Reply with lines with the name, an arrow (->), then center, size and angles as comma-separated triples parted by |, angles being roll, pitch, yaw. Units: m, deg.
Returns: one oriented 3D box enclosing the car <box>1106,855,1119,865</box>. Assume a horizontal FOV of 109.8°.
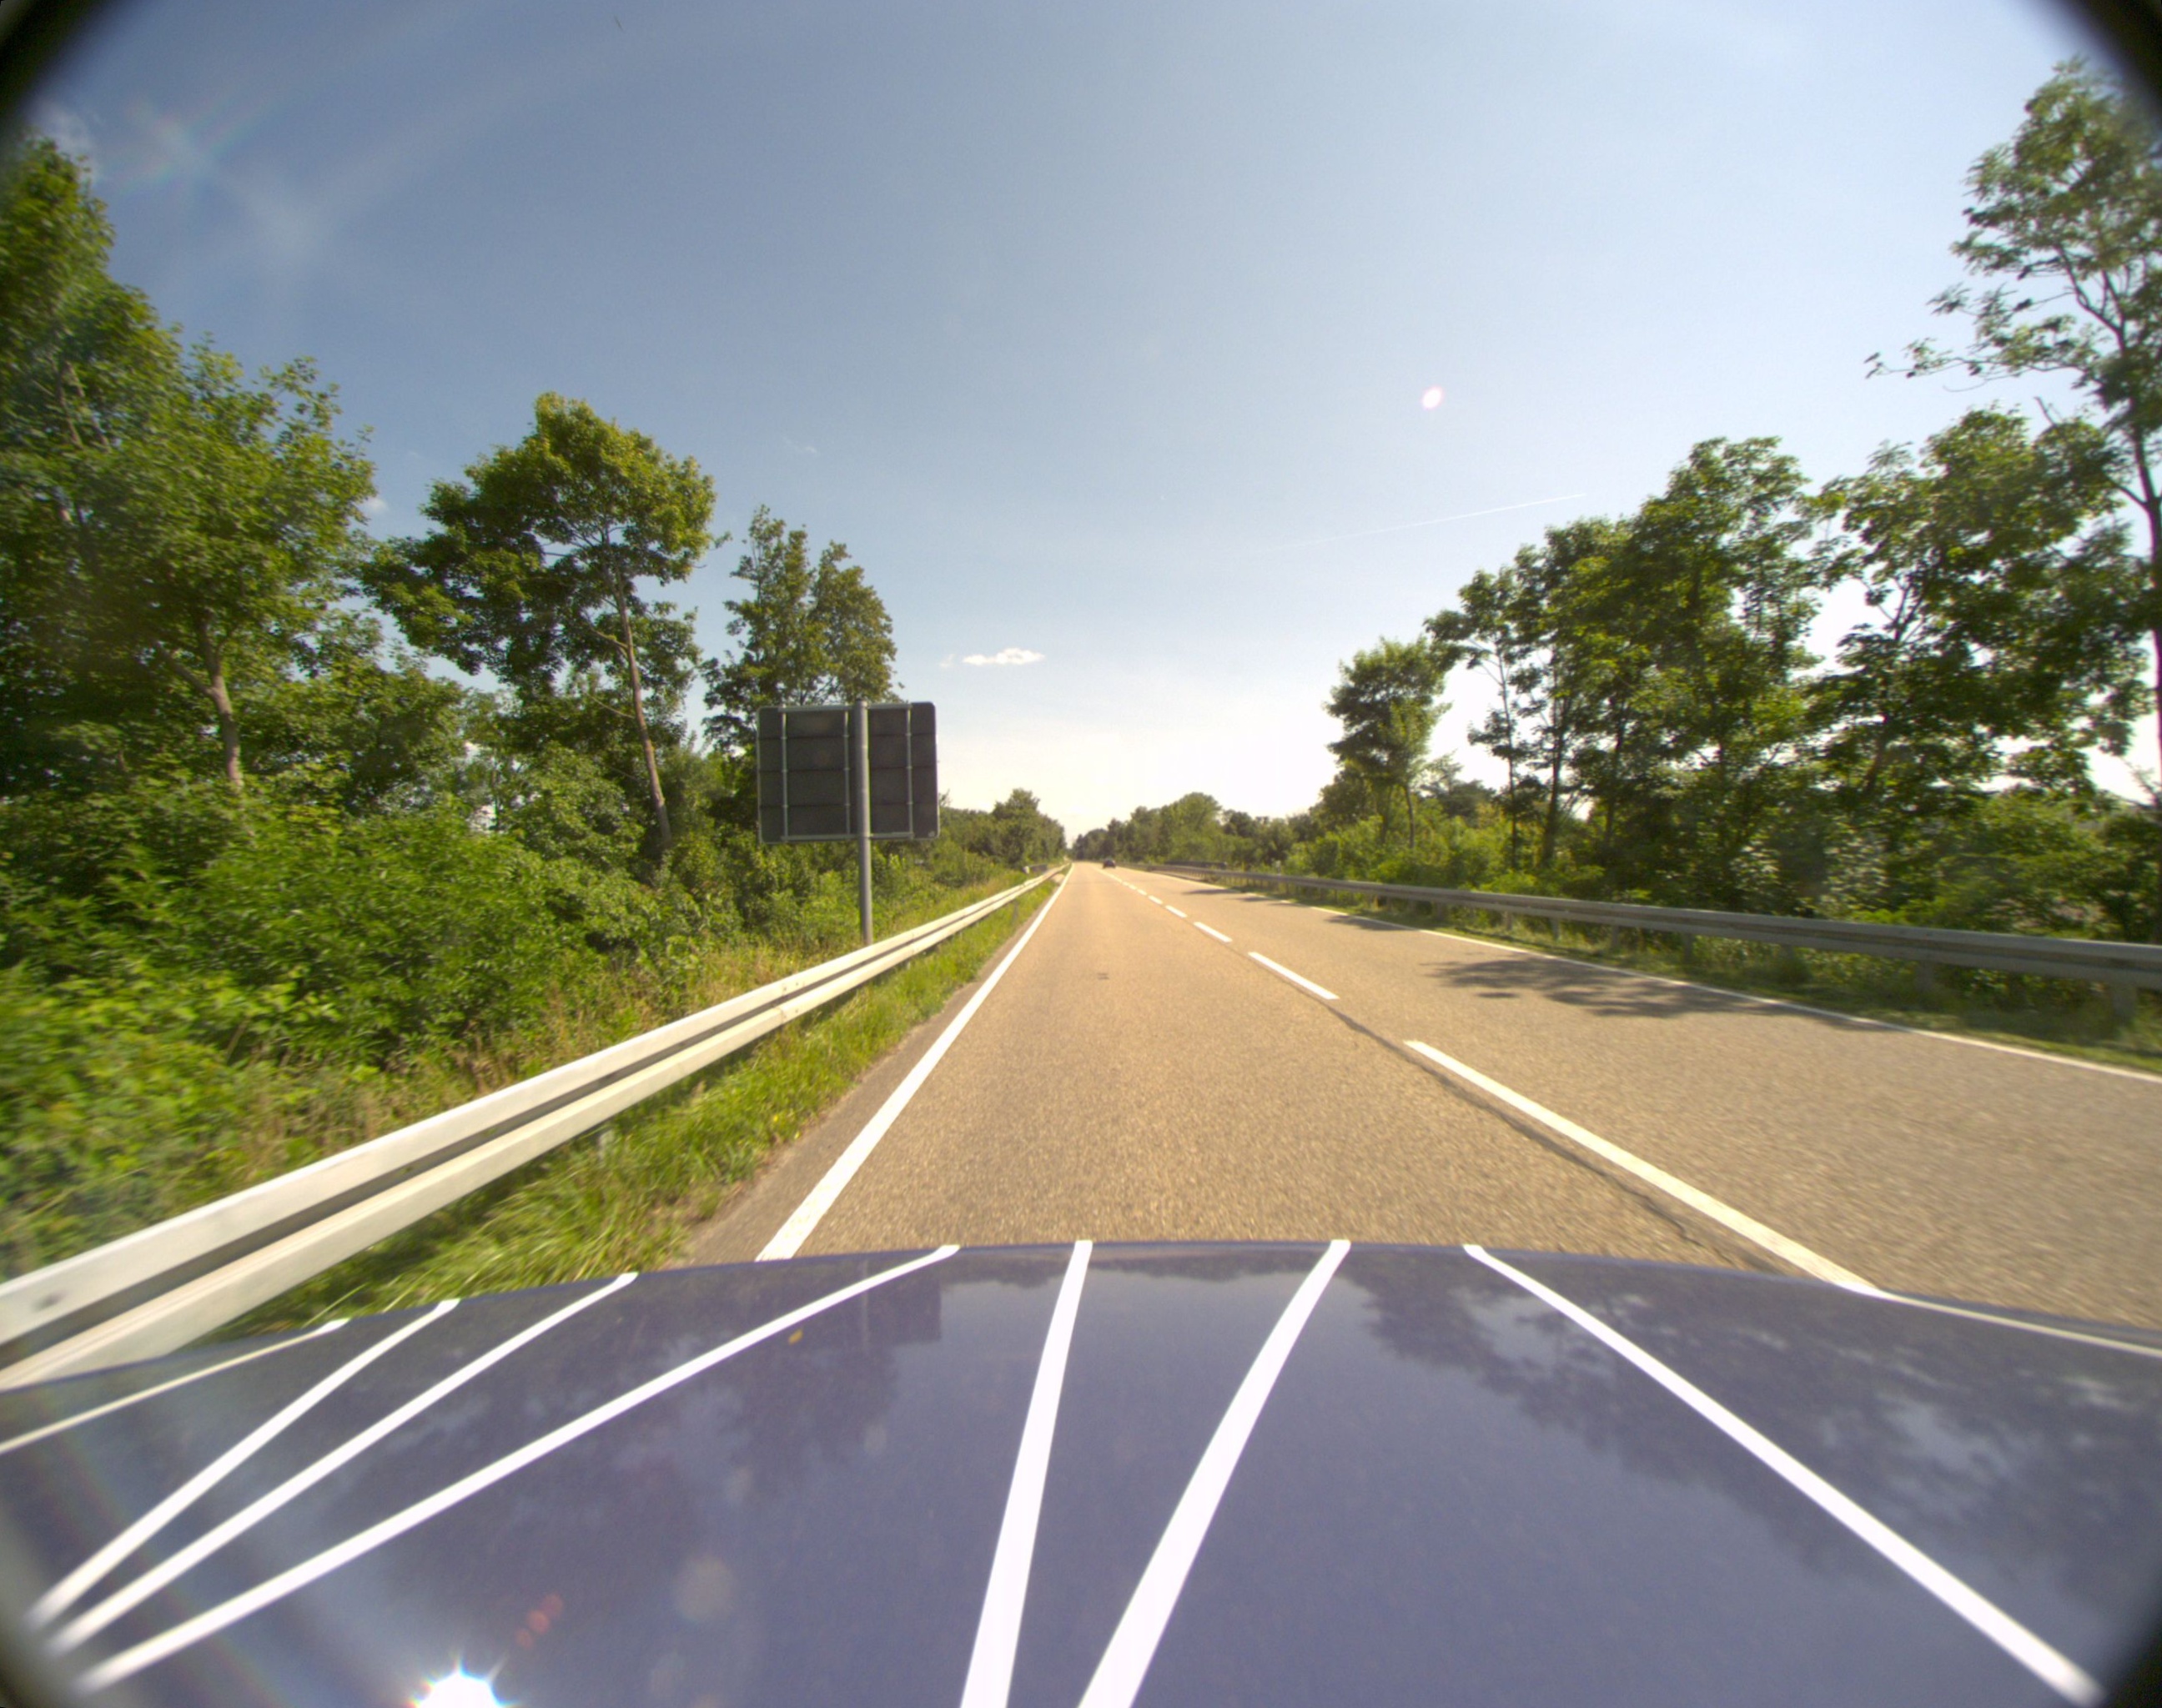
car -> 4.795, 0.851, 116.856 | 1.750, 1.416, 4.677 | -2, 0, 0
